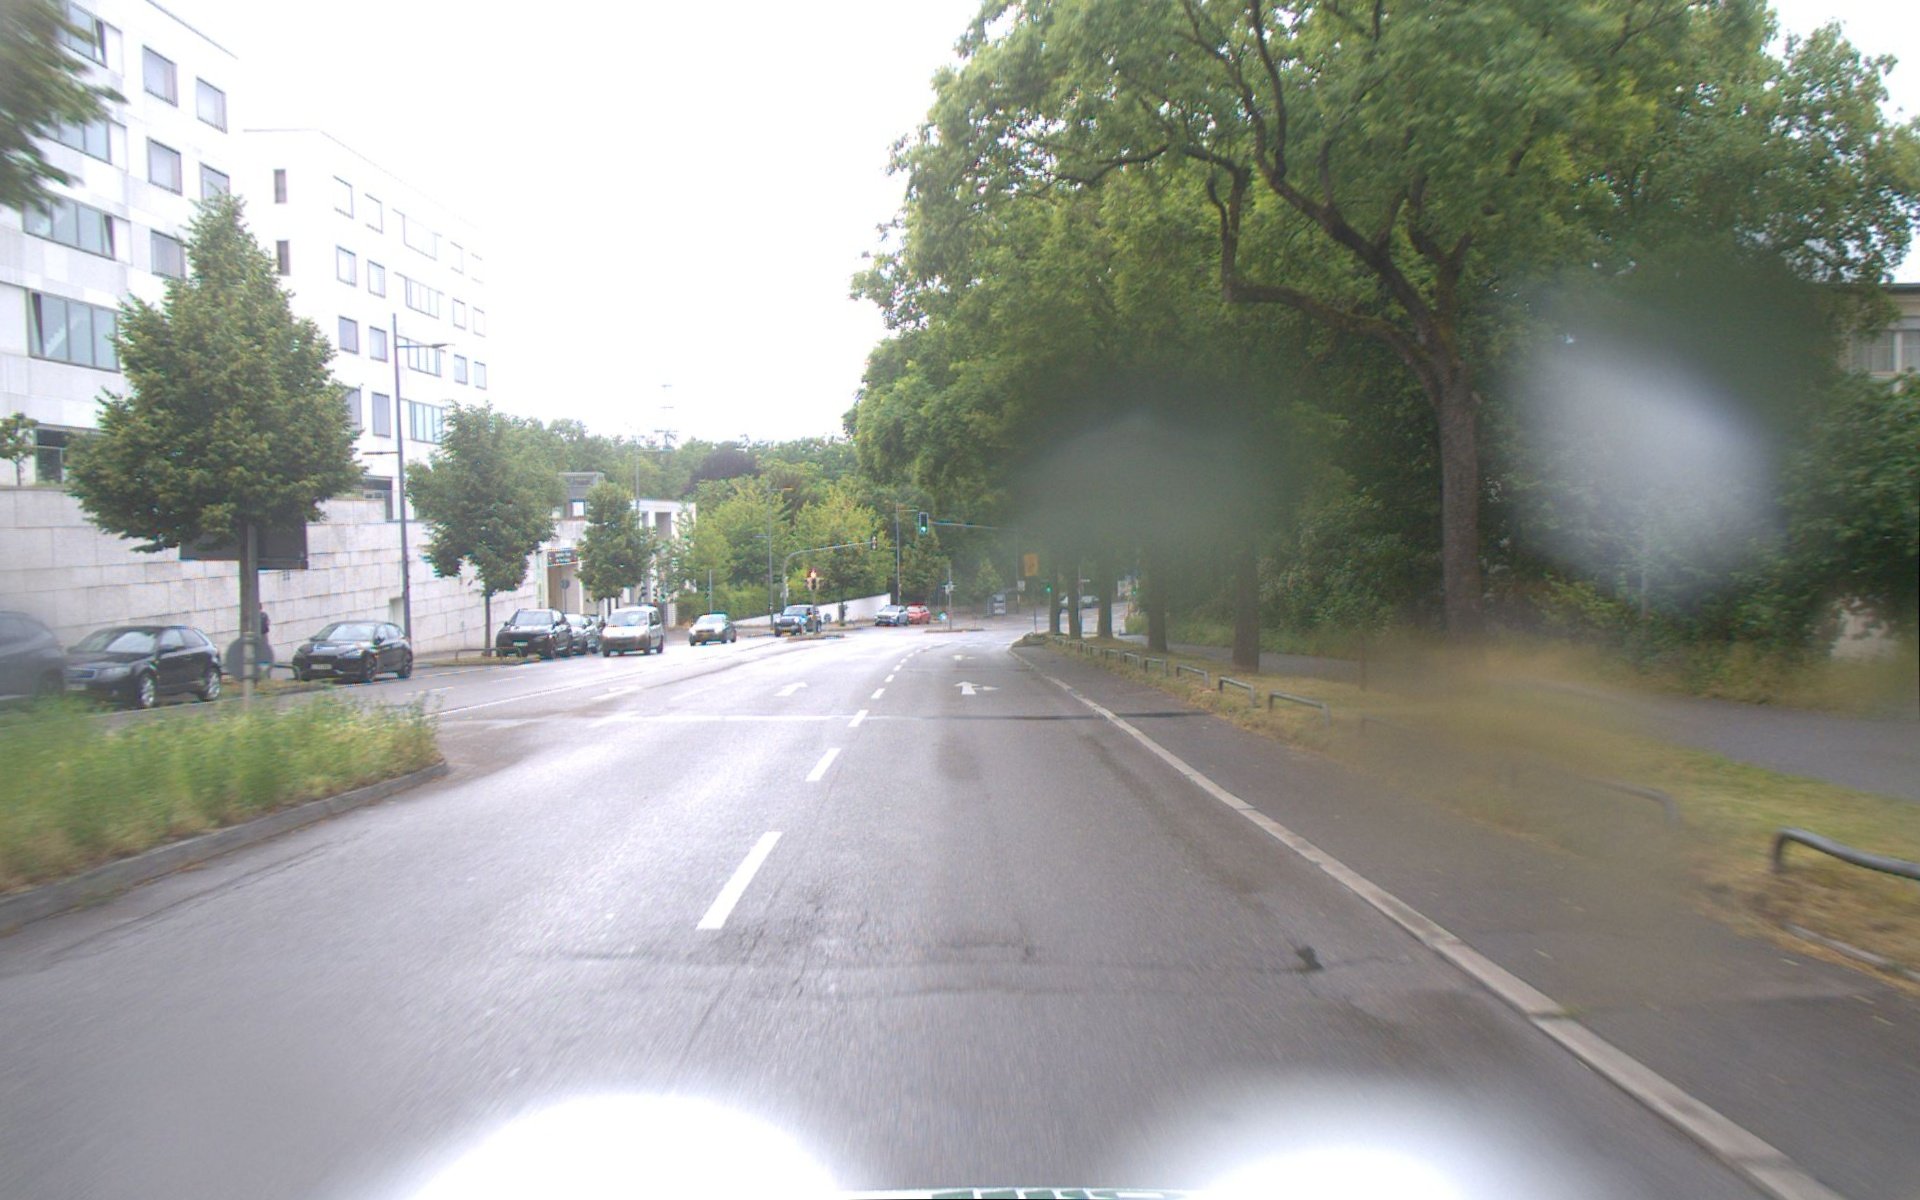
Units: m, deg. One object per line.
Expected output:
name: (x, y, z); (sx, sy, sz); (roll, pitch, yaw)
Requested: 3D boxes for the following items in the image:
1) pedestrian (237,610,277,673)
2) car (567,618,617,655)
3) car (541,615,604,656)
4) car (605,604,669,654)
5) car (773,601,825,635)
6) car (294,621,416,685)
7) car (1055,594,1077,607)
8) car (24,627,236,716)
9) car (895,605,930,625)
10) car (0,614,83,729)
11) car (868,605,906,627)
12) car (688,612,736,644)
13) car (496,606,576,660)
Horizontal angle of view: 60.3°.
pedestrian: (-20.641, 1.218, 48.589); (0.693, 1.805, 1.021); (-1, 0, -1)
car: (-15.771, 1.541, 70.989); (1.477, 1.541, 2.980); (0, 0, 0)
car: (-15.193, 1.380, 65.007); (1.645, 1.541, 3.709); (0, 0, -1)
car: (-12.250, 1.073, 62.961); (1.675, 1.777, 4.336); (-1, 0, -2)
car: (-10.244, 1.098, 105.382); (1.880, 1.889, 4.510); (-5, 0, 12)
car: (-14.740, 1.253, 40.481); (1.645, 1.451, 3.963); (0, 0, -2)
car: (12.490, 0.106, 194.147); (1.677, 1.486, 3.752); (0, 0, 18)
car: (-14.747, 1.226, 29.654); (1.660, 1.384, 4.163); (-1, 0, 0)
car: (-4.055, 1.275, 142.092); (1.835, 1.602, 4.226); (1, 0, 14)
car: (-14.638, 1.048, 23.842); (1.668, 1.649, 4.361); (-1, -1, 0)
car: (-5.954, 1.262, 134.980); (1.814, 1.668, 4.096); (2, 1, 16)
car: (-12.217, 1.363, 81.768); (1.734, 1.405, 4.189); (-3, 0, -1)
car: (-15.167, 1.159, 59.358); (1.819, 1.812, 4.594); (-2, 0, -2)
